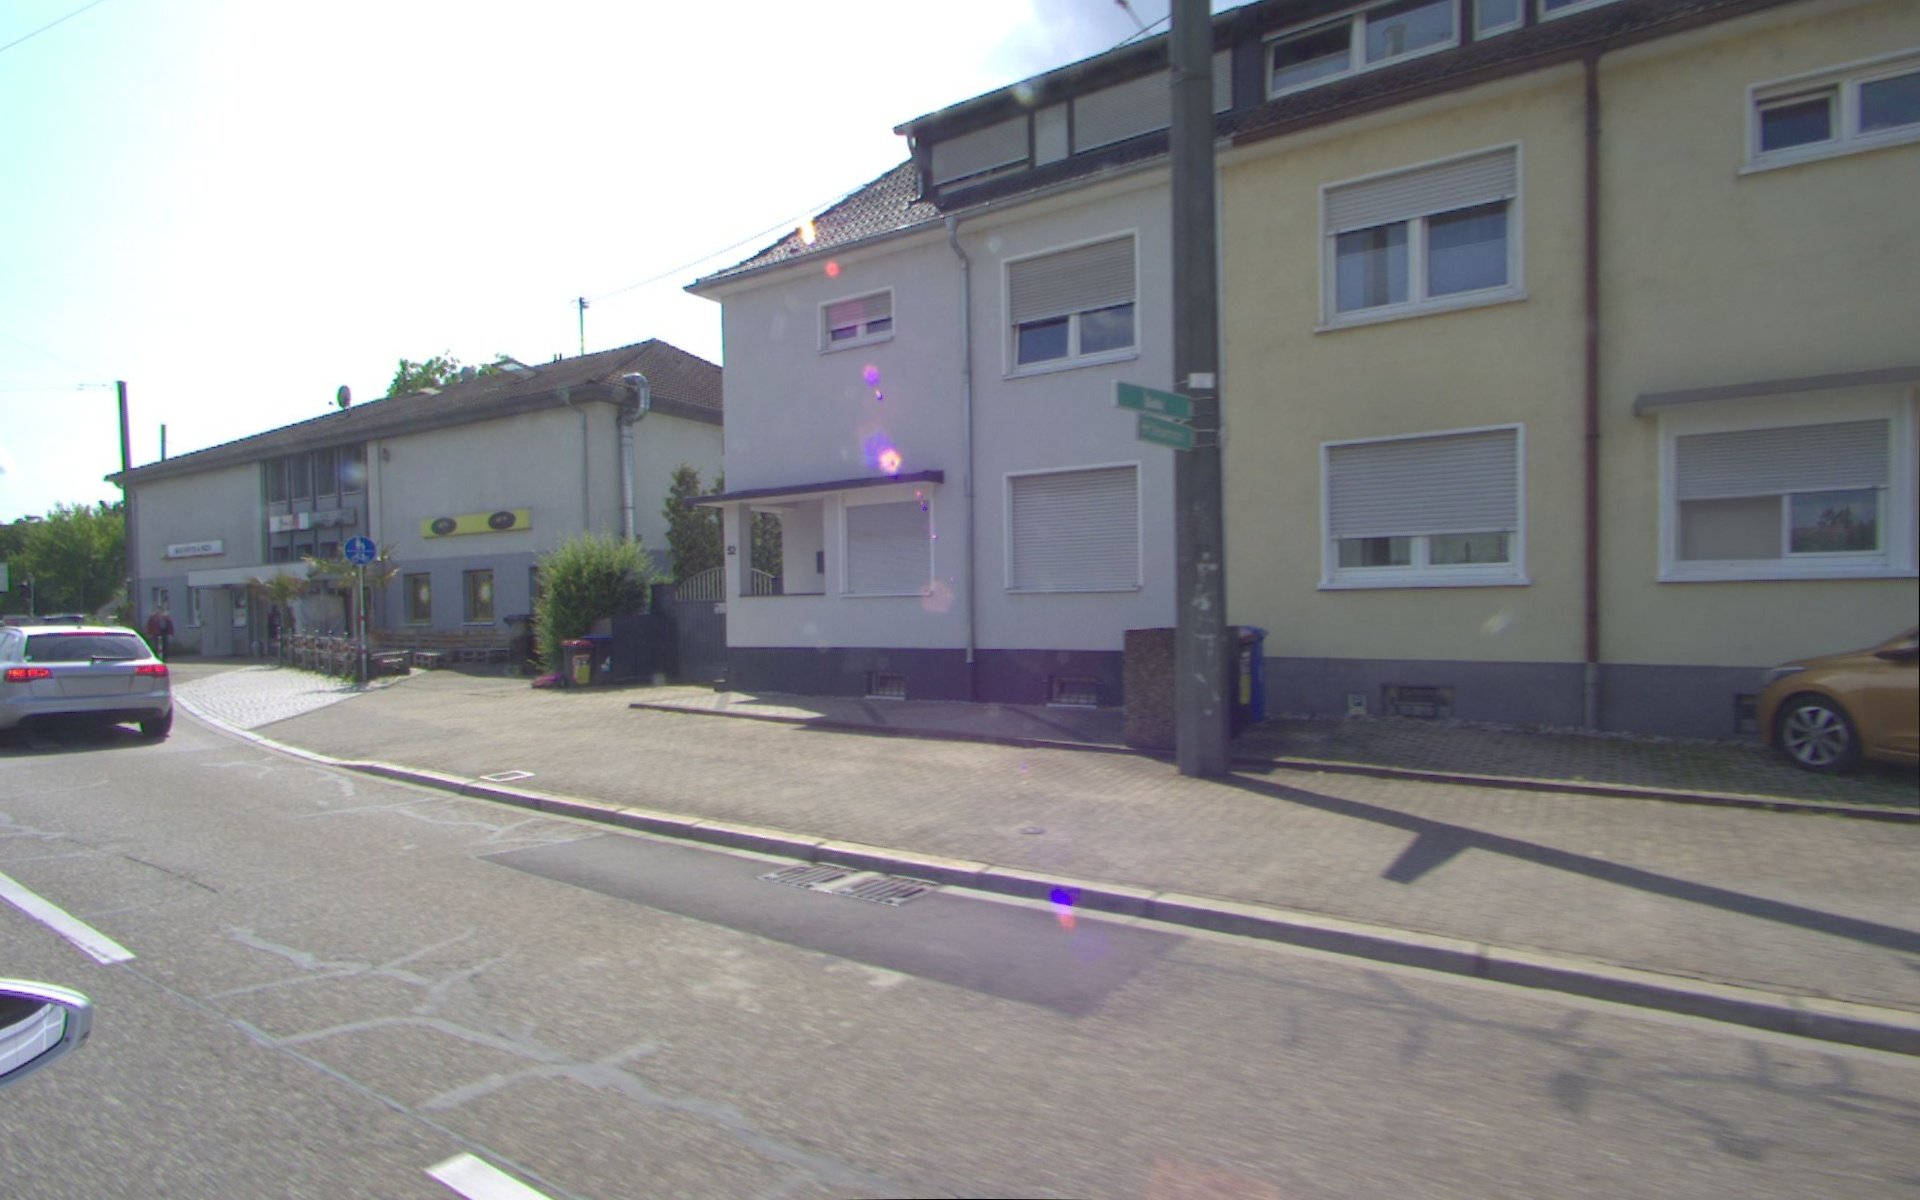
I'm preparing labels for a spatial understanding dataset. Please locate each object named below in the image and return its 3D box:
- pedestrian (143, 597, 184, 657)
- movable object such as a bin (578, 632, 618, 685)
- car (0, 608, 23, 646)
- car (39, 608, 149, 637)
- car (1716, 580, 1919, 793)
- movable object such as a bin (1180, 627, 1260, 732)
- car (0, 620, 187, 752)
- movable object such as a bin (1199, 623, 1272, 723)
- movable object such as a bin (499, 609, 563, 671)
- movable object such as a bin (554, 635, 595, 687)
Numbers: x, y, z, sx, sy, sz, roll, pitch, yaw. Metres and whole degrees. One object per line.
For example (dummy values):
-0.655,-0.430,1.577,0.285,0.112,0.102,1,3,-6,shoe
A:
-24.622,0.833,30.953,0.693,1.807,0.719,0,3,34,pedestrian
-6.733,1.087,18.619,0.541,0.947,0.440,0,1,27,movable object such as a bin
-46.130,1.307,46.938,1.860,1.753,4.082,-2,0,-22,car
-53.717,1.409,62.181,1.973,1.681,4.850,-1,-2,35,car
7.695,0.618,6.668,1.879,1.478,4.089,0,1,-8,car
2.776,0.825,10.681,0.675,1.061,0.637,0,0,32,movable object such as a bin
-12.380,1.042,13.691,4.479,1.512,1.847,-1,-1,38,car
3.112,0.805,11.300,0.650,1.069,0.644,0,0,32,movable object such as a bin
-10.002,0.909,23.357,0.874,1.351,1.079,2,2,34,movable object such as a bin
-6.997,1.097,18.192,0.537,0.907,0.444,0,1,27,movable object such as a bin
